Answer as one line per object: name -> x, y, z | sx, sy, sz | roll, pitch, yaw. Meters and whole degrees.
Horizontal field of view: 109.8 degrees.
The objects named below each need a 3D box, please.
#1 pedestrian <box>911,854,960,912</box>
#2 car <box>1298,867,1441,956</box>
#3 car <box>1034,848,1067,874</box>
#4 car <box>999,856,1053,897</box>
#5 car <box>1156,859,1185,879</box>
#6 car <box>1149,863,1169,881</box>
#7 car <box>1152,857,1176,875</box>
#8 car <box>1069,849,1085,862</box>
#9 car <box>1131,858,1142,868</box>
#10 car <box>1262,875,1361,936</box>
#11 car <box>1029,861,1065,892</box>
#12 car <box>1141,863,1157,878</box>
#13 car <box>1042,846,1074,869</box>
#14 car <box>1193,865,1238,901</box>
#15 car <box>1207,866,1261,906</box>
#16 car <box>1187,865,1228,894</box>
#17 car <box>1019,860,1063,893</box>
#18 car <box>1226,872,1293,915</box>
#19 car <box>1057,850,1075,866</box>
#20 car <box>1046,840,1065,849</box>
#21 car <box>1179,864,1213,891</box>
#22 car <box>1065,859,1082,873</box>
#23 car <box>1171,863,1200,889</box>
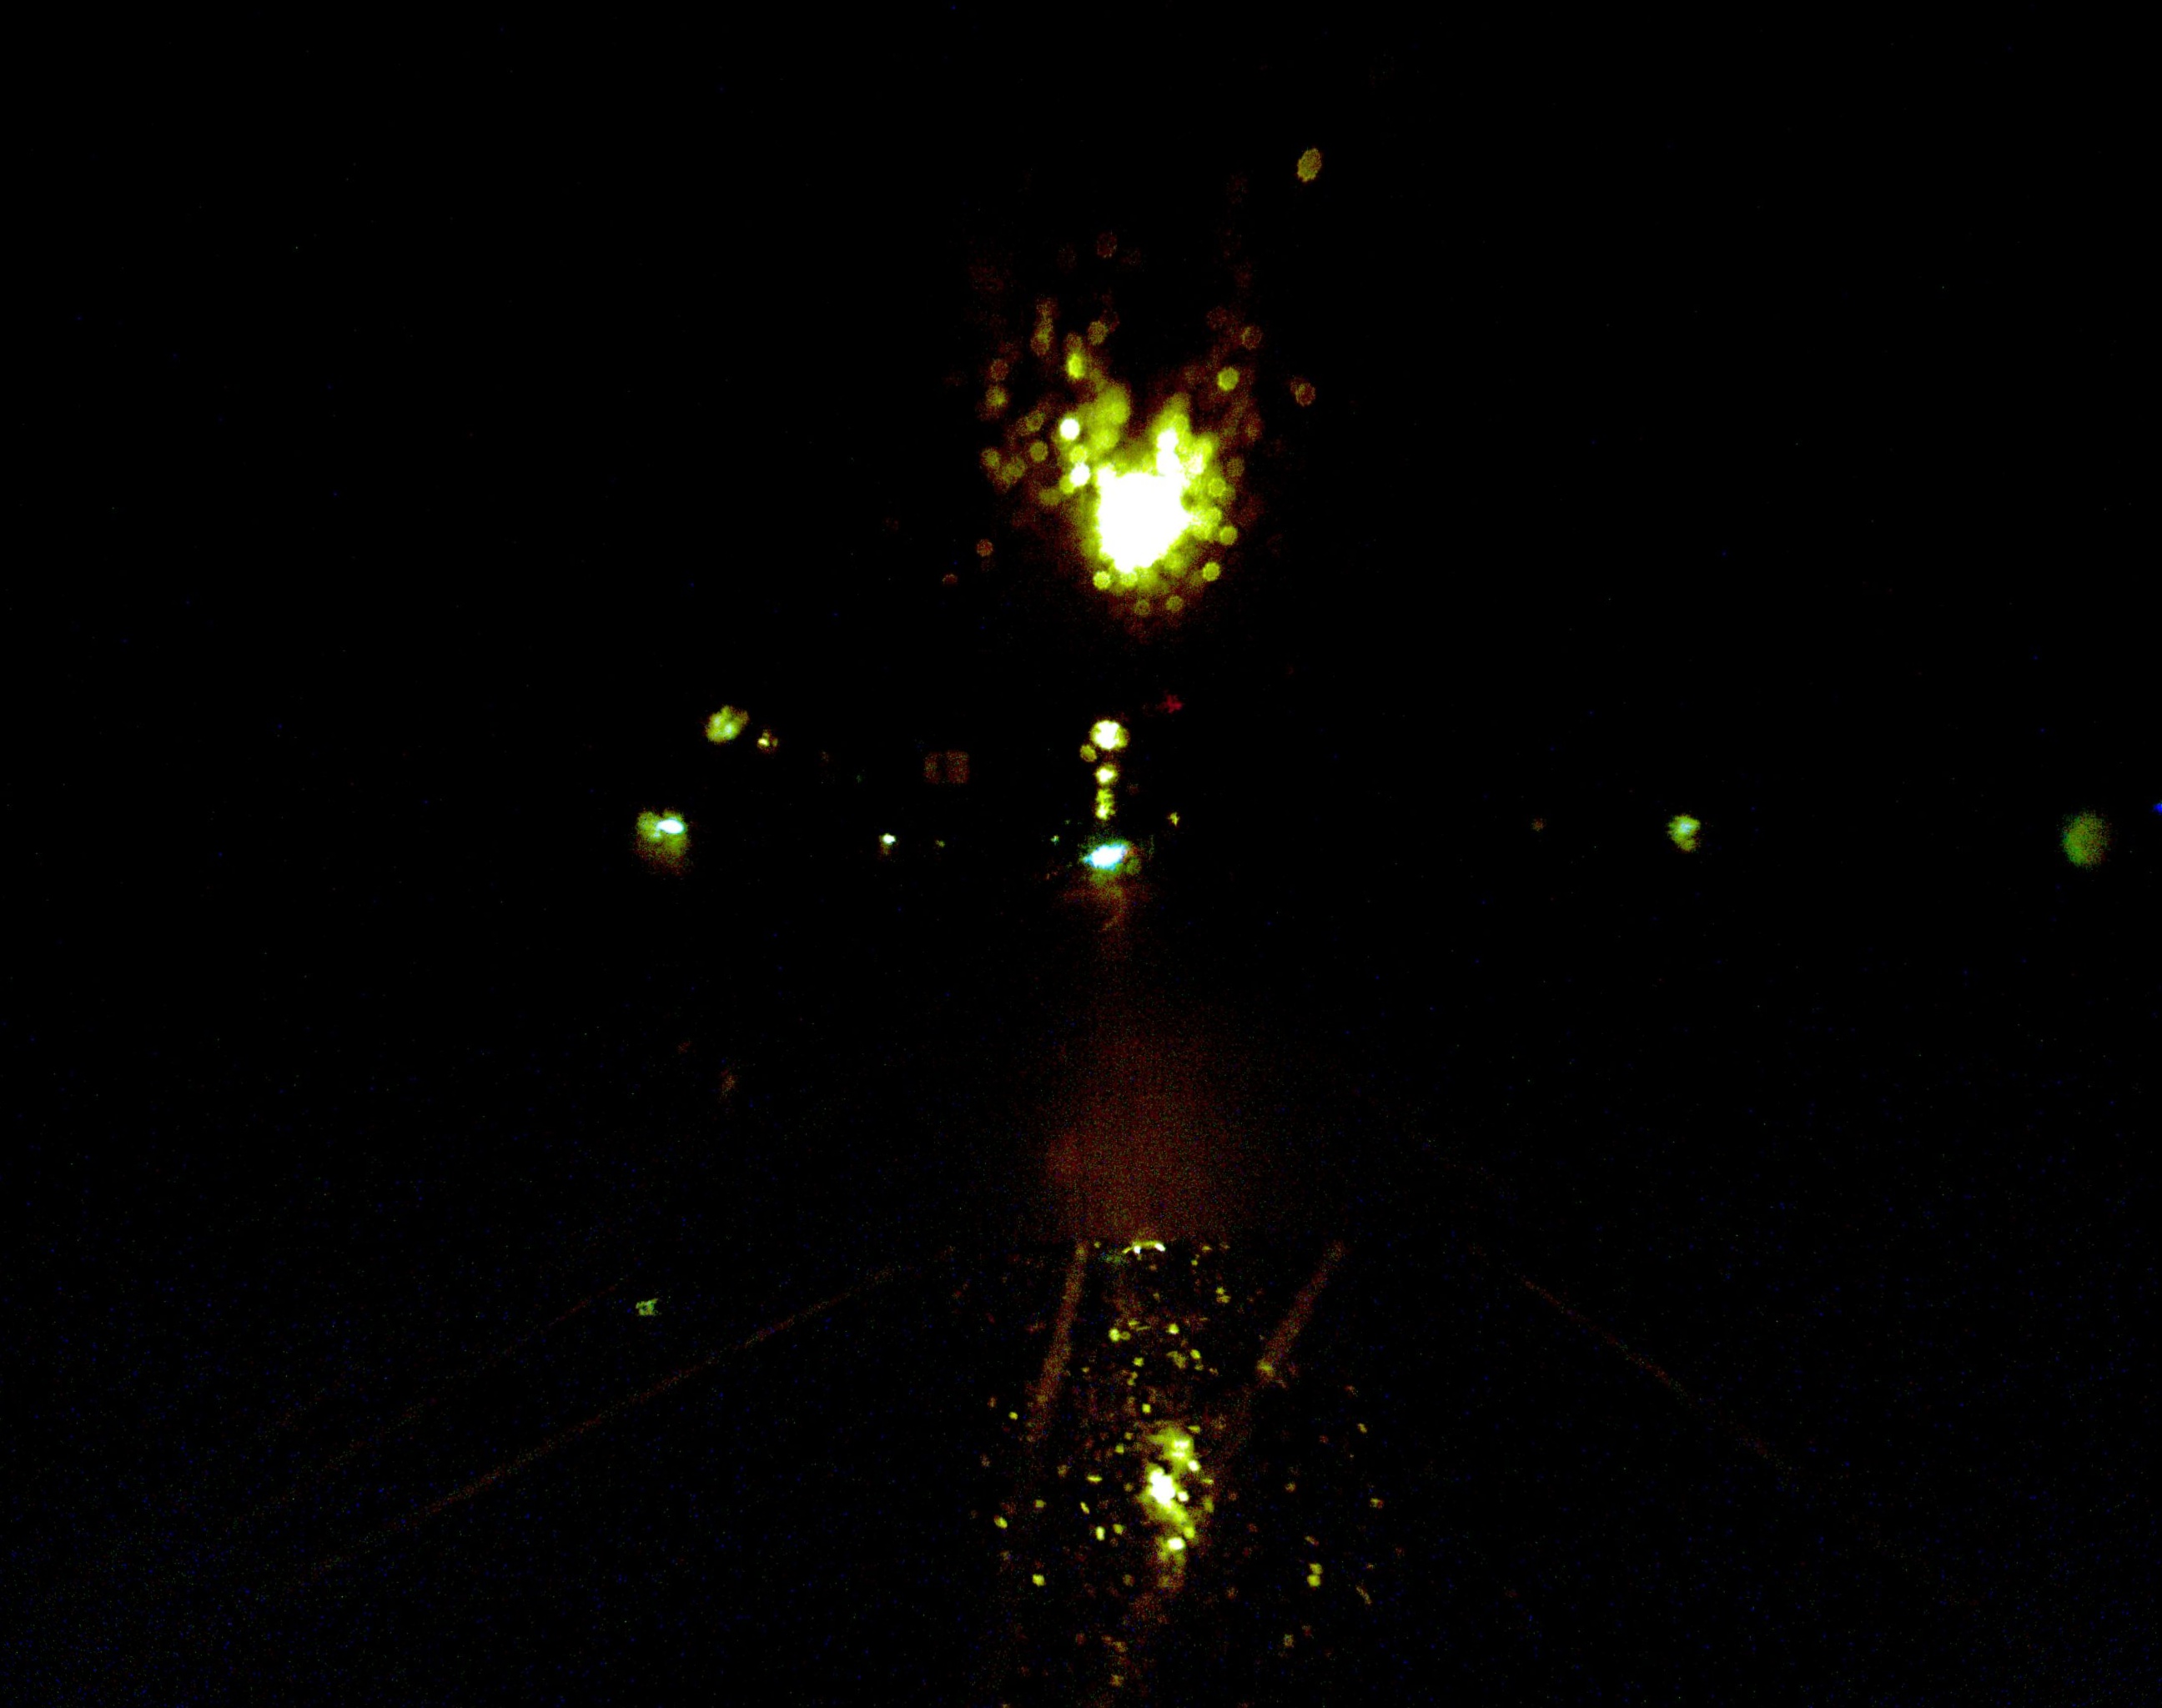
pedestrian -> -4.052, 0.797, 21.297 | 1.052, 1.566, 1.018 | -1, 1, 6
car -> 6.243, 1.165, 16.983 | 1.602, 1.555, 4.379 | 2, 1, 2
car -> -1.847, 0.406, 47.710 | 1.804, 1.522, 5.051 | 0, 1, 1
car -> -2.180, 0.875, 31.445 | 1.827, 1.522, 4.782 | 0, 1, 1
car -> 7.814, 1.268, 66.545 | 1.751, 1.588, 4.389 | 2, 1, -3
car -> 7.912, 1.805, 77.143 | 1.669, 1.531, 4.391 | 2, 1, 2
car -> 7.804, 1.071, 71.685 | 1.670, 1.531, 4.390 | 2, 1, 0
car -> -0.467, 0.209, 93.758 | 1.872, 1.570, 4.746 | 0, 1, -1
car -> 9.036, 1.449, 123.366 | 1.627, 1.464, 3.963 | 0, 1, 3
car -> 6.510, 1.387, 21.902 | 1.602, 1.365, 4.354 | 2, 1, 2
car -> -1.920, 1.276, 44.102 | 1.827, 1.628, 4.488 | 0, 1, 1
car -> 7.853, 1.874, 87.882 | 1.669, 1.531, 4.391 | 0, 1, 3
car -> -1.541, 0.227, 52.833 | 1.828, 1.539, 4.353 | 0, 1, 4
car -> 6.789, 1.424, 38.588 | 1.602, 1.596, 4.258 | 2, 1, 2
car -> 6.641, 1.353, 33.313 | 1.602, 1.478, 4.274 | 2, 1, 2
car -> 7.103, 1.388, 42.936 | 1.602, 1.423, 4.004 | 2, 1, 0
car -> -1.910, 1.070, 37.455 | 1.827, 1.413, 4.488 | 0, 1, 1
car -> 6.369, 1.381, 27.519 | 1.602, 1.365, 4.068 | -1, -1, 2
car -> -1.246, 0.317, 64.610 | 1.460, 1.298, 3.628 | 0, 1, 0
car -> -5.677, -2.166, 171.271 | 4.021, 2.156, 1.802 | 0, 1, 8
car -> 7.215, 1.471, 48.191 | 1.640, 1.448, 4.934 | 2, 1, 4
car -> -0.839, 1.288, 83.616 | 1.800, 1.483, 4.128 | 0, 0, -1
car -> 7.258, 1.516, 53.025 | 1.478, 1.610, 3.373 | 2, 1, 0
